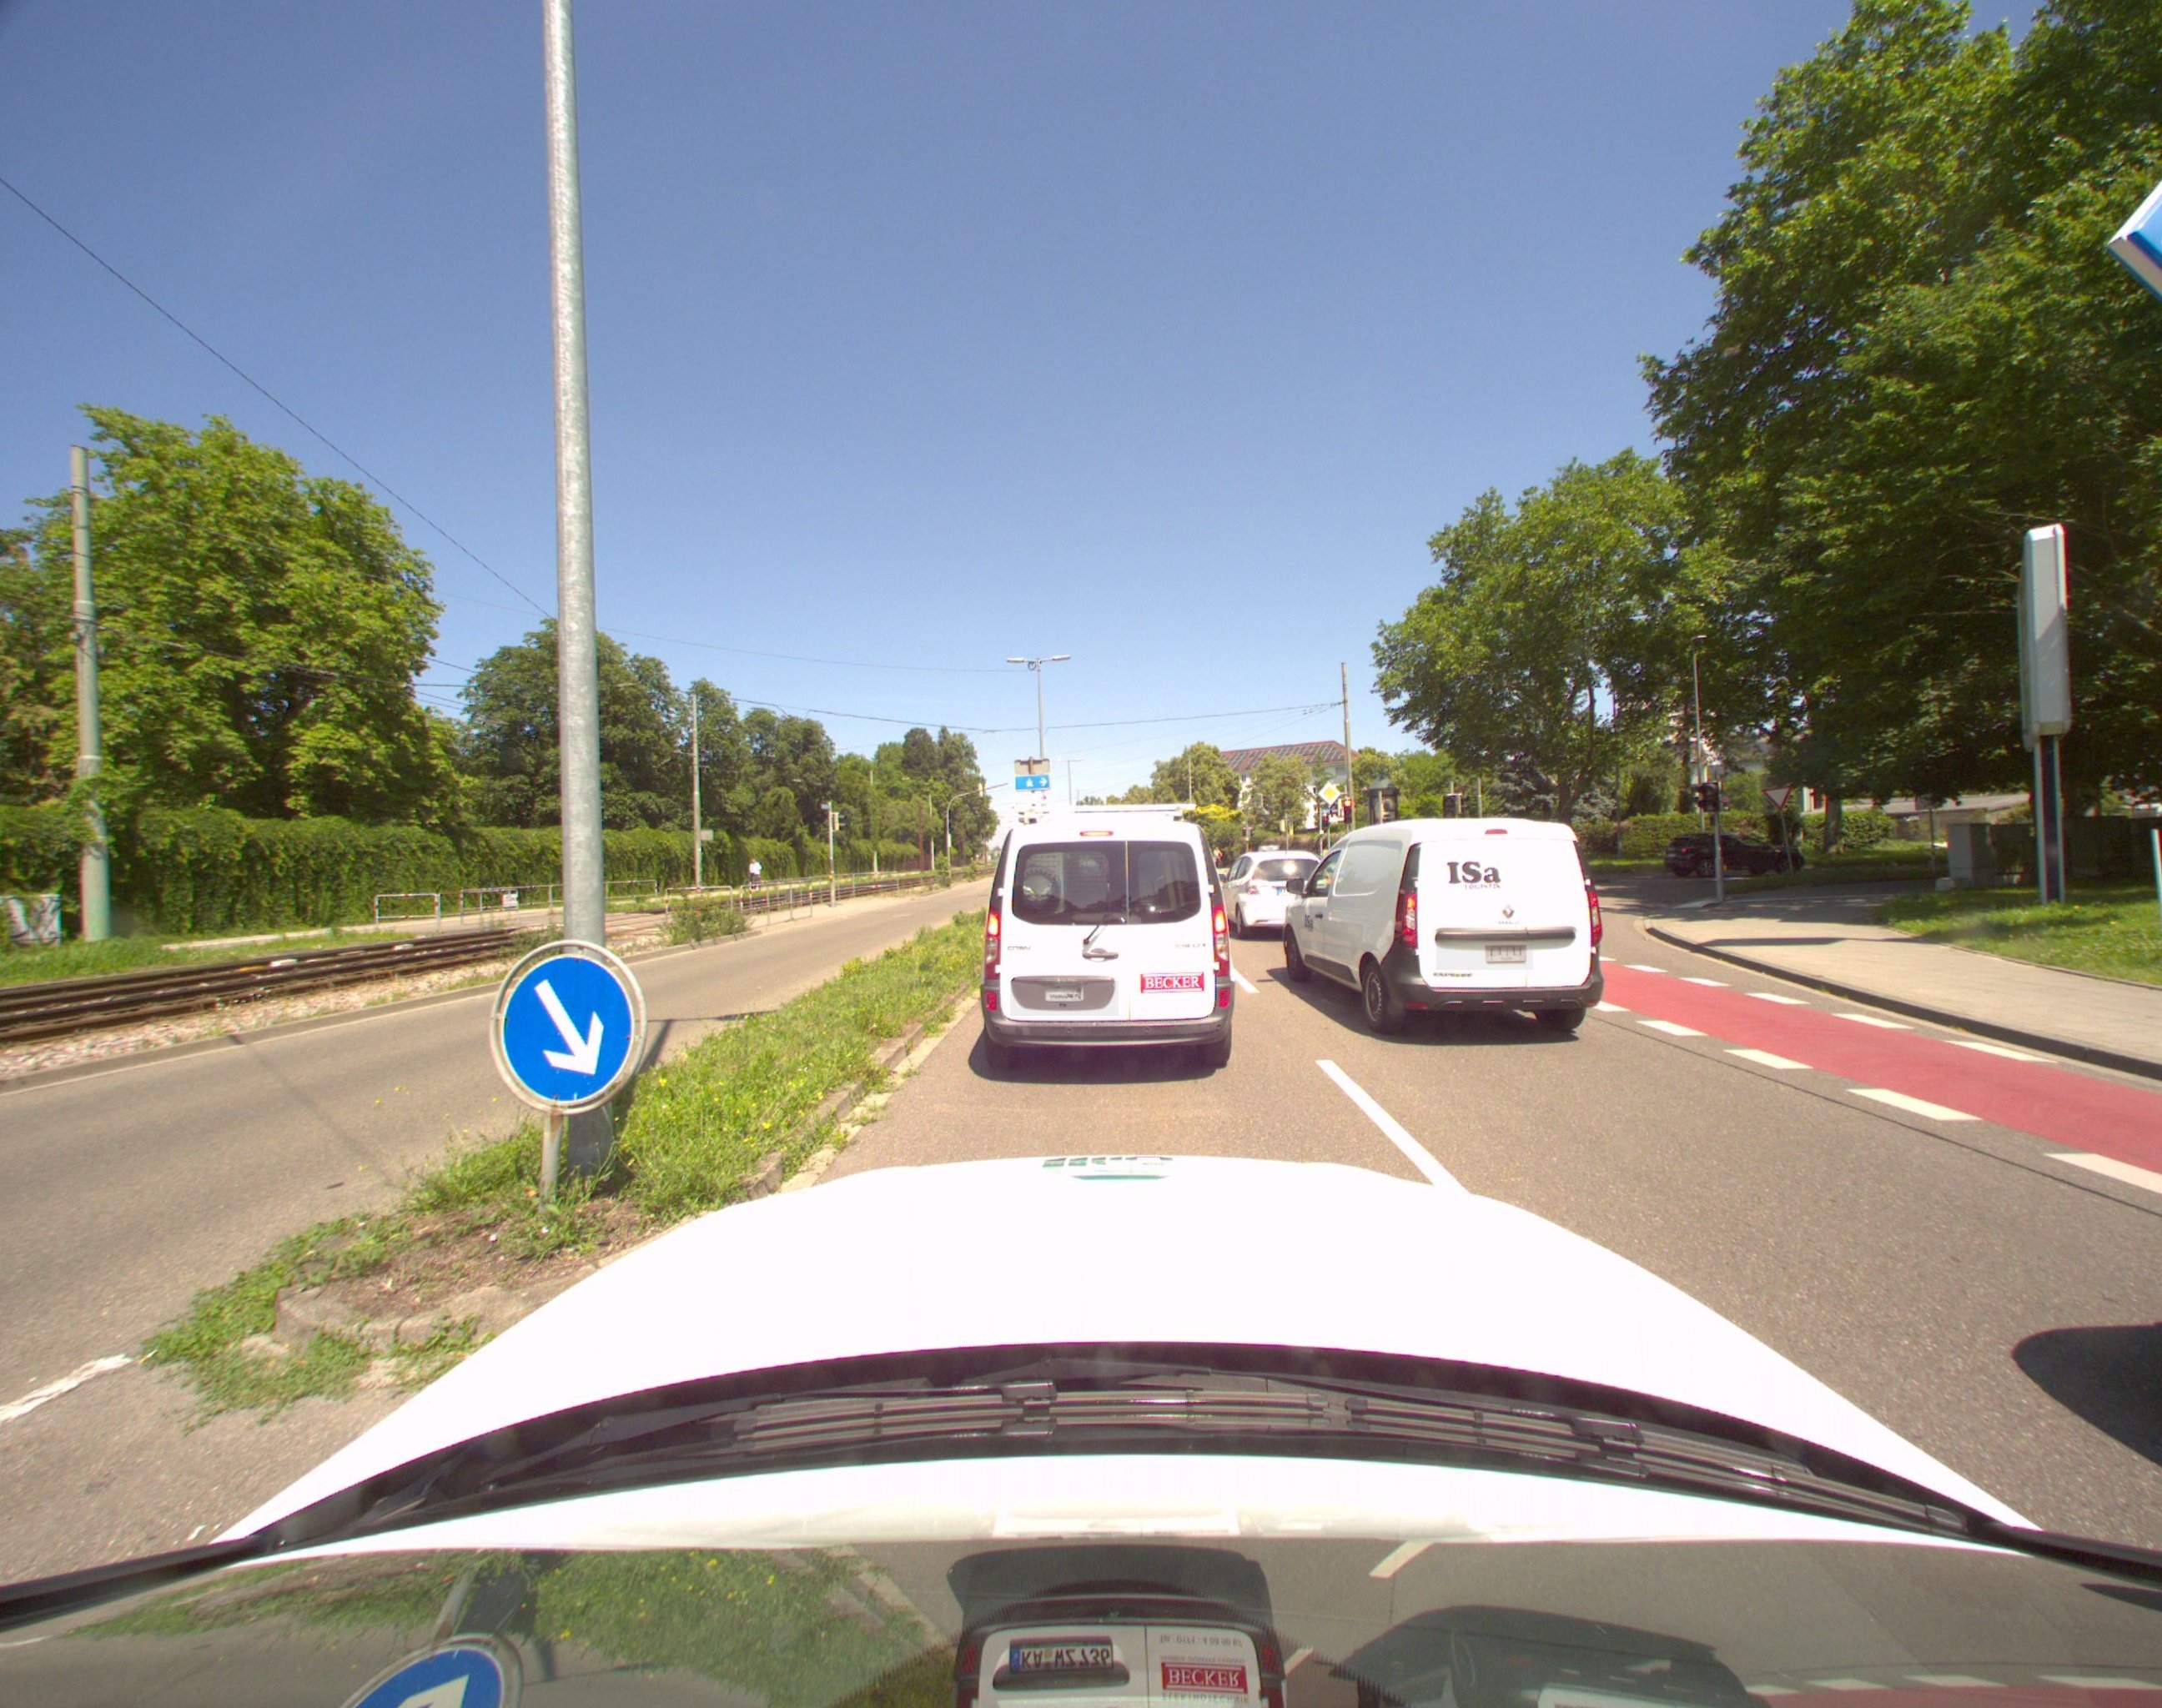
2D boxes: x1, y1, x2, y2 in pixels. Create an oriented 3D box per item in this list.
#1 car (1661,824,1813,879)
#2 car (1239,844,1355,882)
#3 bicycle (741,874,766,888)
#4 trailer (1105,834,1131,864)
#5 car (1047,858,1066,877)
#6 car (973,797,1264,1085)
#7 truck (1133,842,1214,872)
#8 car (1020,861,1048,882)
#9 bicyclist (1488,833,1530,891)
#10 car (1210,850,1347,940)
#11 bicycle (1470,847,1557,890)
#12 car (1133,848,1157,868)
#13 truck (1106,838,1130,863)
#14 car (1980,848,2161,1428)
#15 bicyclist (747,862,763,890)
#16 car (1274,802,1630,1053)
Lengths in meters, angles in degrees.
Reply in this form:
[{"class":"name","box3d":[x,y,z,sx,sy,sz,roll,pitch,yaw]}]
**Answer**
[{"class":"car","box3d":[24.658,-0.082,30.775,3.962,1.860,2.006,-2,0,10]},{"class":"car","box3d":[9.605,0.420,36.235,4.637,1.525,2.012,-2,0,25]},{"class":"bicycle","box3d":[-17.519,1.428,43.613,0.559,0.647,1.721,-2,0,3]},{"class":"trailer","box3d":[5.449,-0.731,119.020,3.514,4.050,8.982,-2,0,2]},{"class":"car","box3d":[-2.717,1.449,91.431,1.987,2.013,3.999,-2,0,0]},{"class":"car","box3d":[0.285,0.563,7.169,1.860,1.836,3.849,-1,0,1]},{"class":"truck","box3d":[6.715,0.275,60.065,2.314,2.013,6.661,-2,0,-31]},{"class":"car","box3d":[-3.362,1.220,57.703,1.690,1.311,3.873,1,0,-9]},{"class":"bicyclist","box3d":[13.329,0.238,25.348,0.945,1.739,1.139,-2,0,37]},{"class":"car","box3d":[3.605,0.687,15.554,1.749,1.486,4.002,0,0,2]},{"class":"bicycle","box3d":[13.410,0.468,25.310,2.240,1.269,0.892,-2,0,37]},{"class":"car","box3d":[6.343,0.370,80.294,1.982,1.915,4.010,-2,0,8]},{"class":"truck","box3d":[5.919,-0.583,127.955,3.561,3.632,8.816,-2,0,3]},{"class":"car","box3d":[3.430,0.707,0.670,1.600,1.451,3.523,0,0,3]},{"class":"bicyclist","box3d":[-17.524,1.168,43.756,0.555,1.478,0.562,-2,0,2]},{"class":"car","box3d":[3.264,0.551,8.123,1.704,1.830,4.013,-2,0,0]}]
